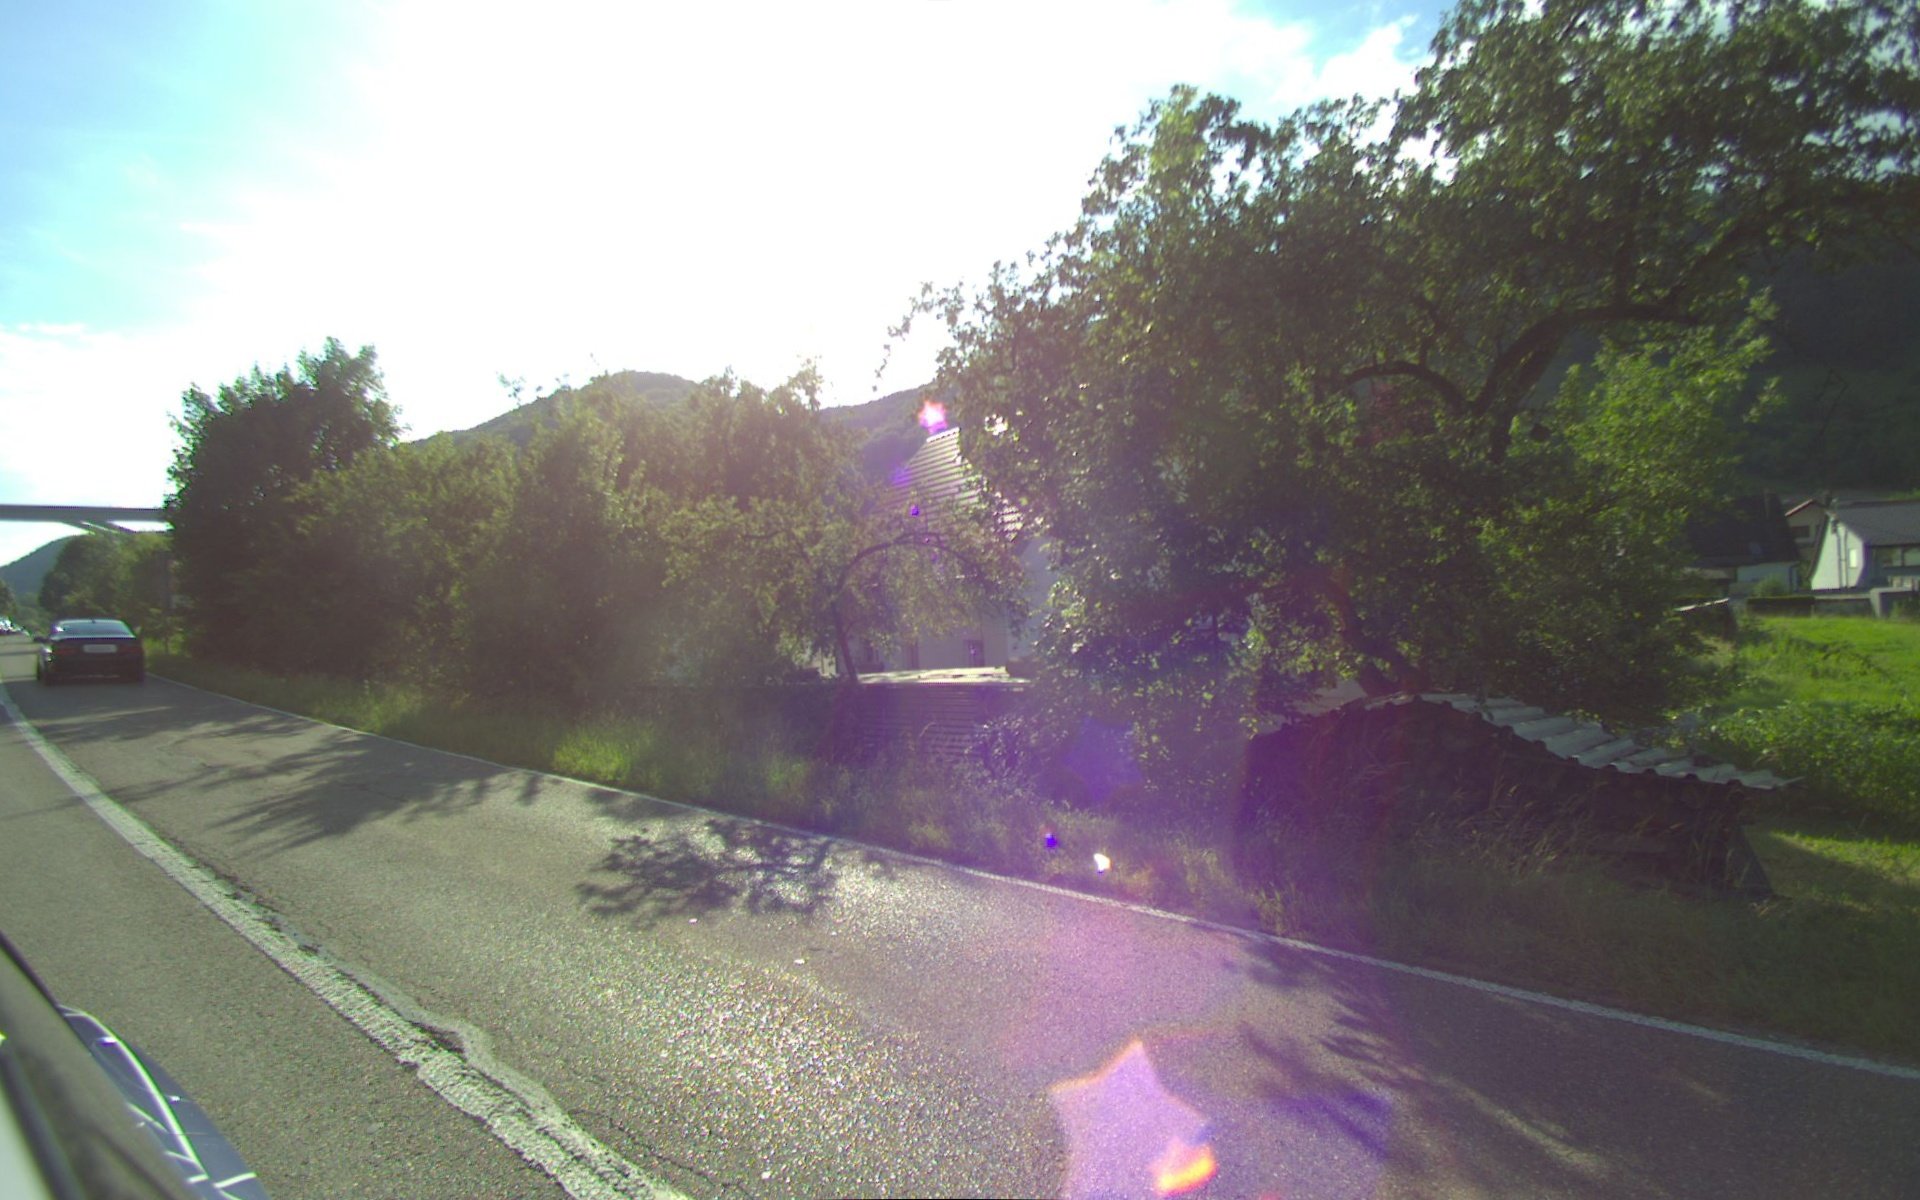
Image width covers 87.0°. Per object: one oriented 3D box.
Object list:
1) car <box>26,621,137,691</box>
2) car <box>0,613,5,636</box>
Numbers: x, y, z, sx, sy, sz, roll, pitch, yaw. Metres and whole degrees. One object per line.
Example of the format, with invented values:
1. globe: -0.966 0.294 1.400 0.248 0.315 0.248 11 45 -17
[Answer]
1. car: -19.640 1.173 22.576 4.205 1.364 1.576 -1 0 45
2. car: -88.611 2.257 92.348 1.971 2.029 4.002 -1 0 -45
